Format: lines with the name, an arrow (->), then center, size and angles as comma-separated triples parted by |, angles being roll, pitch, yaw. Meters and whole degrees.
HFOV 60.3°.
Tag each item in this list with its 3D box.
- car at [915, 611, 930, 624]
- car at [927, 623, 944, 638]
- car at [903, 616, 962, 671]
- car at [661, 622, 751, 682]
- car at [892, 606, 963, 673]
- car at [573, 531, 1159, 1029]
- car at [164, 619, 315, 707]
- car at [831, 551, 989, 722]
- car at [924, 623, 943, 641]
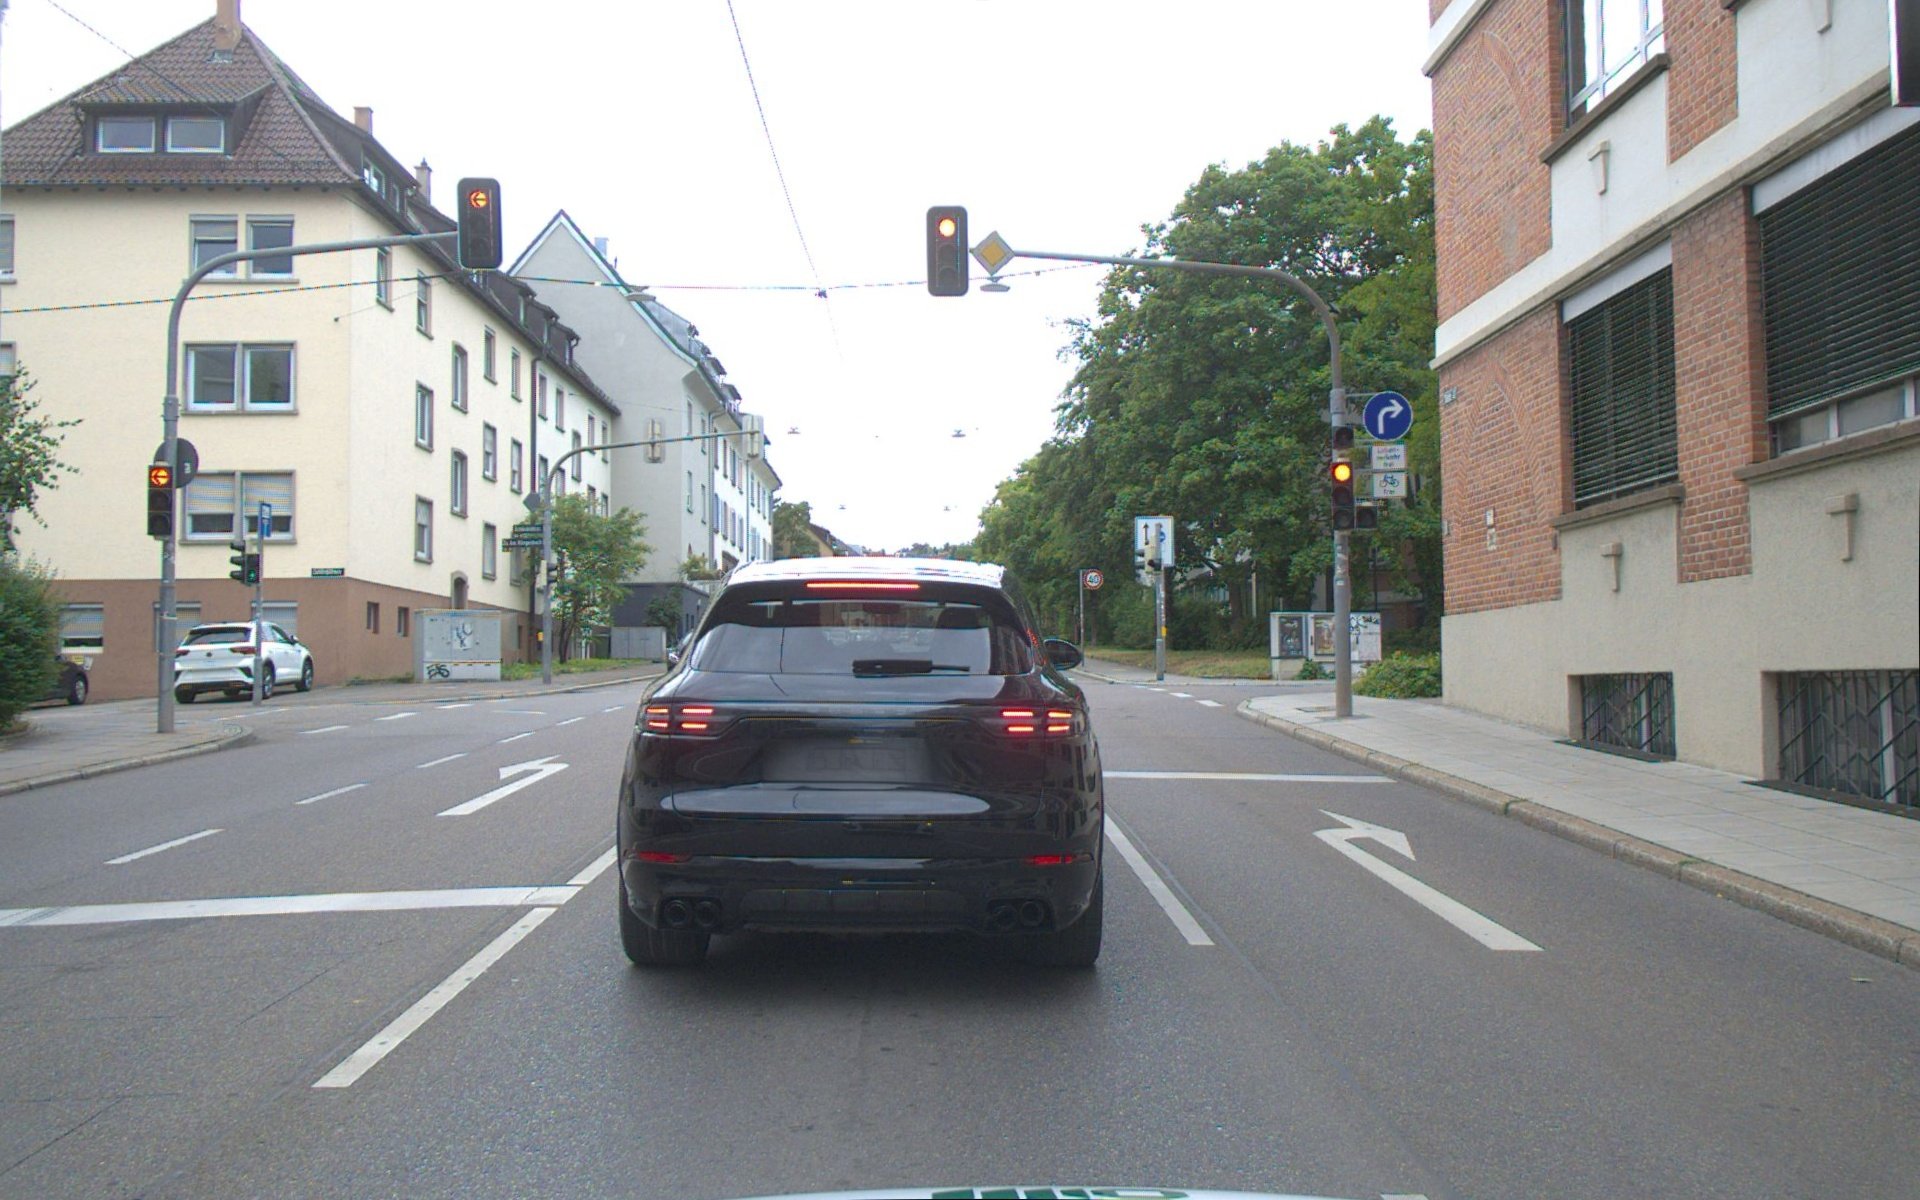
car -> -4.729, 2.213, 210.878 | 1.790, 1.633, 4.134 | 1, 0, -1
car -> -2.674, 3.366, 183.109 | 1.790, 1.633, 4.134 | 1, 0, -1
car -> -0.871, 1.370, 53.221 | 1.790, 1.633, 3.858 | 1, 0, -1
car -> -6.879, 1.379, 45.213 | 1.749, 1.443, 4.669 | -2, -1, -1
car -> -0.862, 1.024, 44.508 | 1.790, 1.633, 4.134 | 1, 0, -1
car -> -0.342, 0.620, 7.880 | 2.007, 1.695, 4.266 | 1, 0, -1
car -> -14.774, 1.247, 34.115 | 1.658, 1.582, 3.762 | -3, 0, -5
car -> -0.634, 0.446, 22.596 | 1.925, 2.078, 4.134 | 1, 0, -1
car -> -2.569, 3.127, 161.378 | 1.790, 1.633, 4.134 | 1, 0, -1
